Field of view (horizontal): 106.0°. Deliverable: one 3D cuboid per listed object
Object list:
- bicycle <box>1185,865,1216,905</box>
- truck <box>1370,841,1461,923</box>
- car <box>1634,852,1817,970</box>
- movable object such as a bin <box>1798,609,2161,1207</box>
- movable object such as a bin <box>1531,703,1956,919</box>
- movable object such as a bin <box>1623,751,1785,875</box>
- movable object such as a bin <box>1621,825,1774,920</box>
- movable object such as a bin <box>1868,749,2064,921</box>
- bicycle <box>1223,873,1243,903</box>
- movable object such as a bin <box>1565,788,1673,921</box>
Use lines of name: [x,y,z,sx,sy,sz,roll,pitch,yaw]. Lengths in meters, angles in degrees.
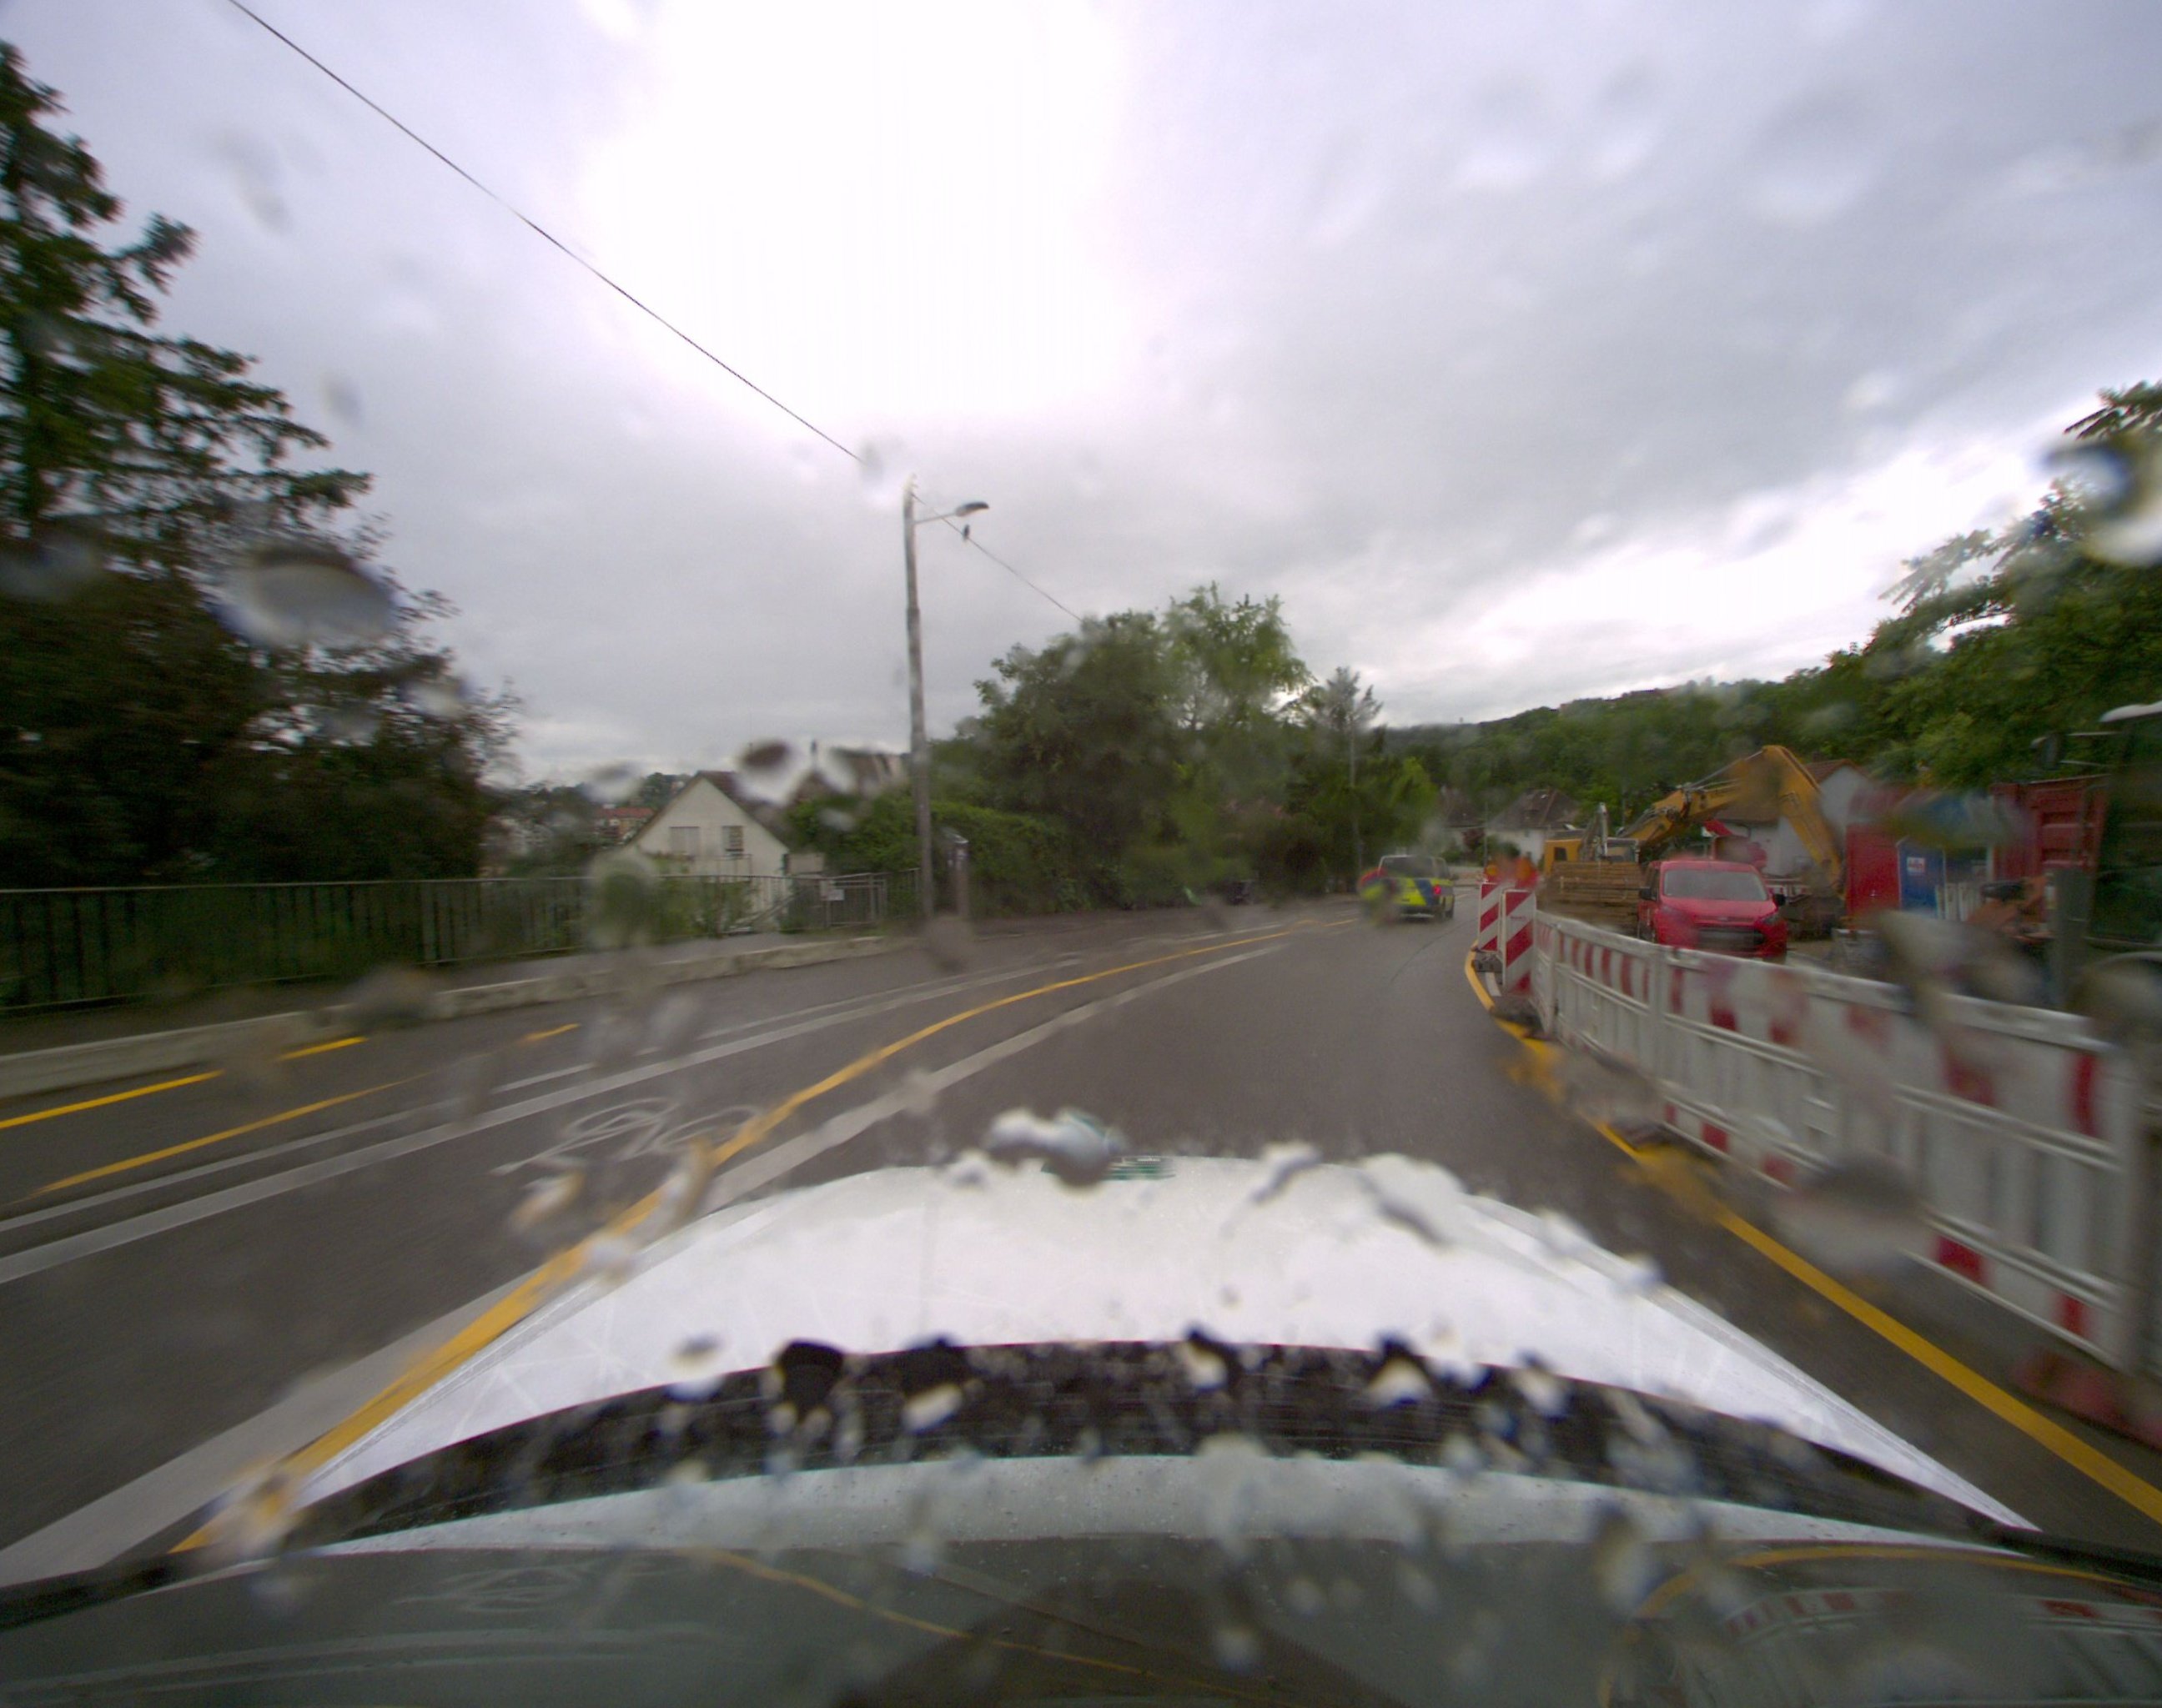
bicycle: [4.163,1.071,28.306,0.416,1.349,1.753,0,-2,30]
truck: [10.337,0.764,24.938,1.974,2.013,4.765,-2,3,29]
car: [11.568,0.885,14.993,1.974,1.779,5.028,0,-1,31]
movable object such as a bin: [7.493,0.145,5.658,2.057,3.225,5.315,1,5,22]
movable object such as a bin: [18.290,-0.726,24.183,3.052,4.920,10.796,2,-3,-5]
movable object such as a bin: [35.562,-2.192,46.857,6.885,6.690,3.063,0,-1,26]
movable object such as a bin: [22.774,0.607,30.333,3.953,3.202,2.421,1,5,21]
movable object such as a bin: [22.454,-0.406,20.940,1.975,3.889,4.645,0,-1,28]
bicycle: [5.825,1.302,31.171,0.335,1.108,1.263,0,-2,30]
movable object such as a bin: [14.631,0.113,22.378,1.975,3.306,3.857,0,-4,27]
